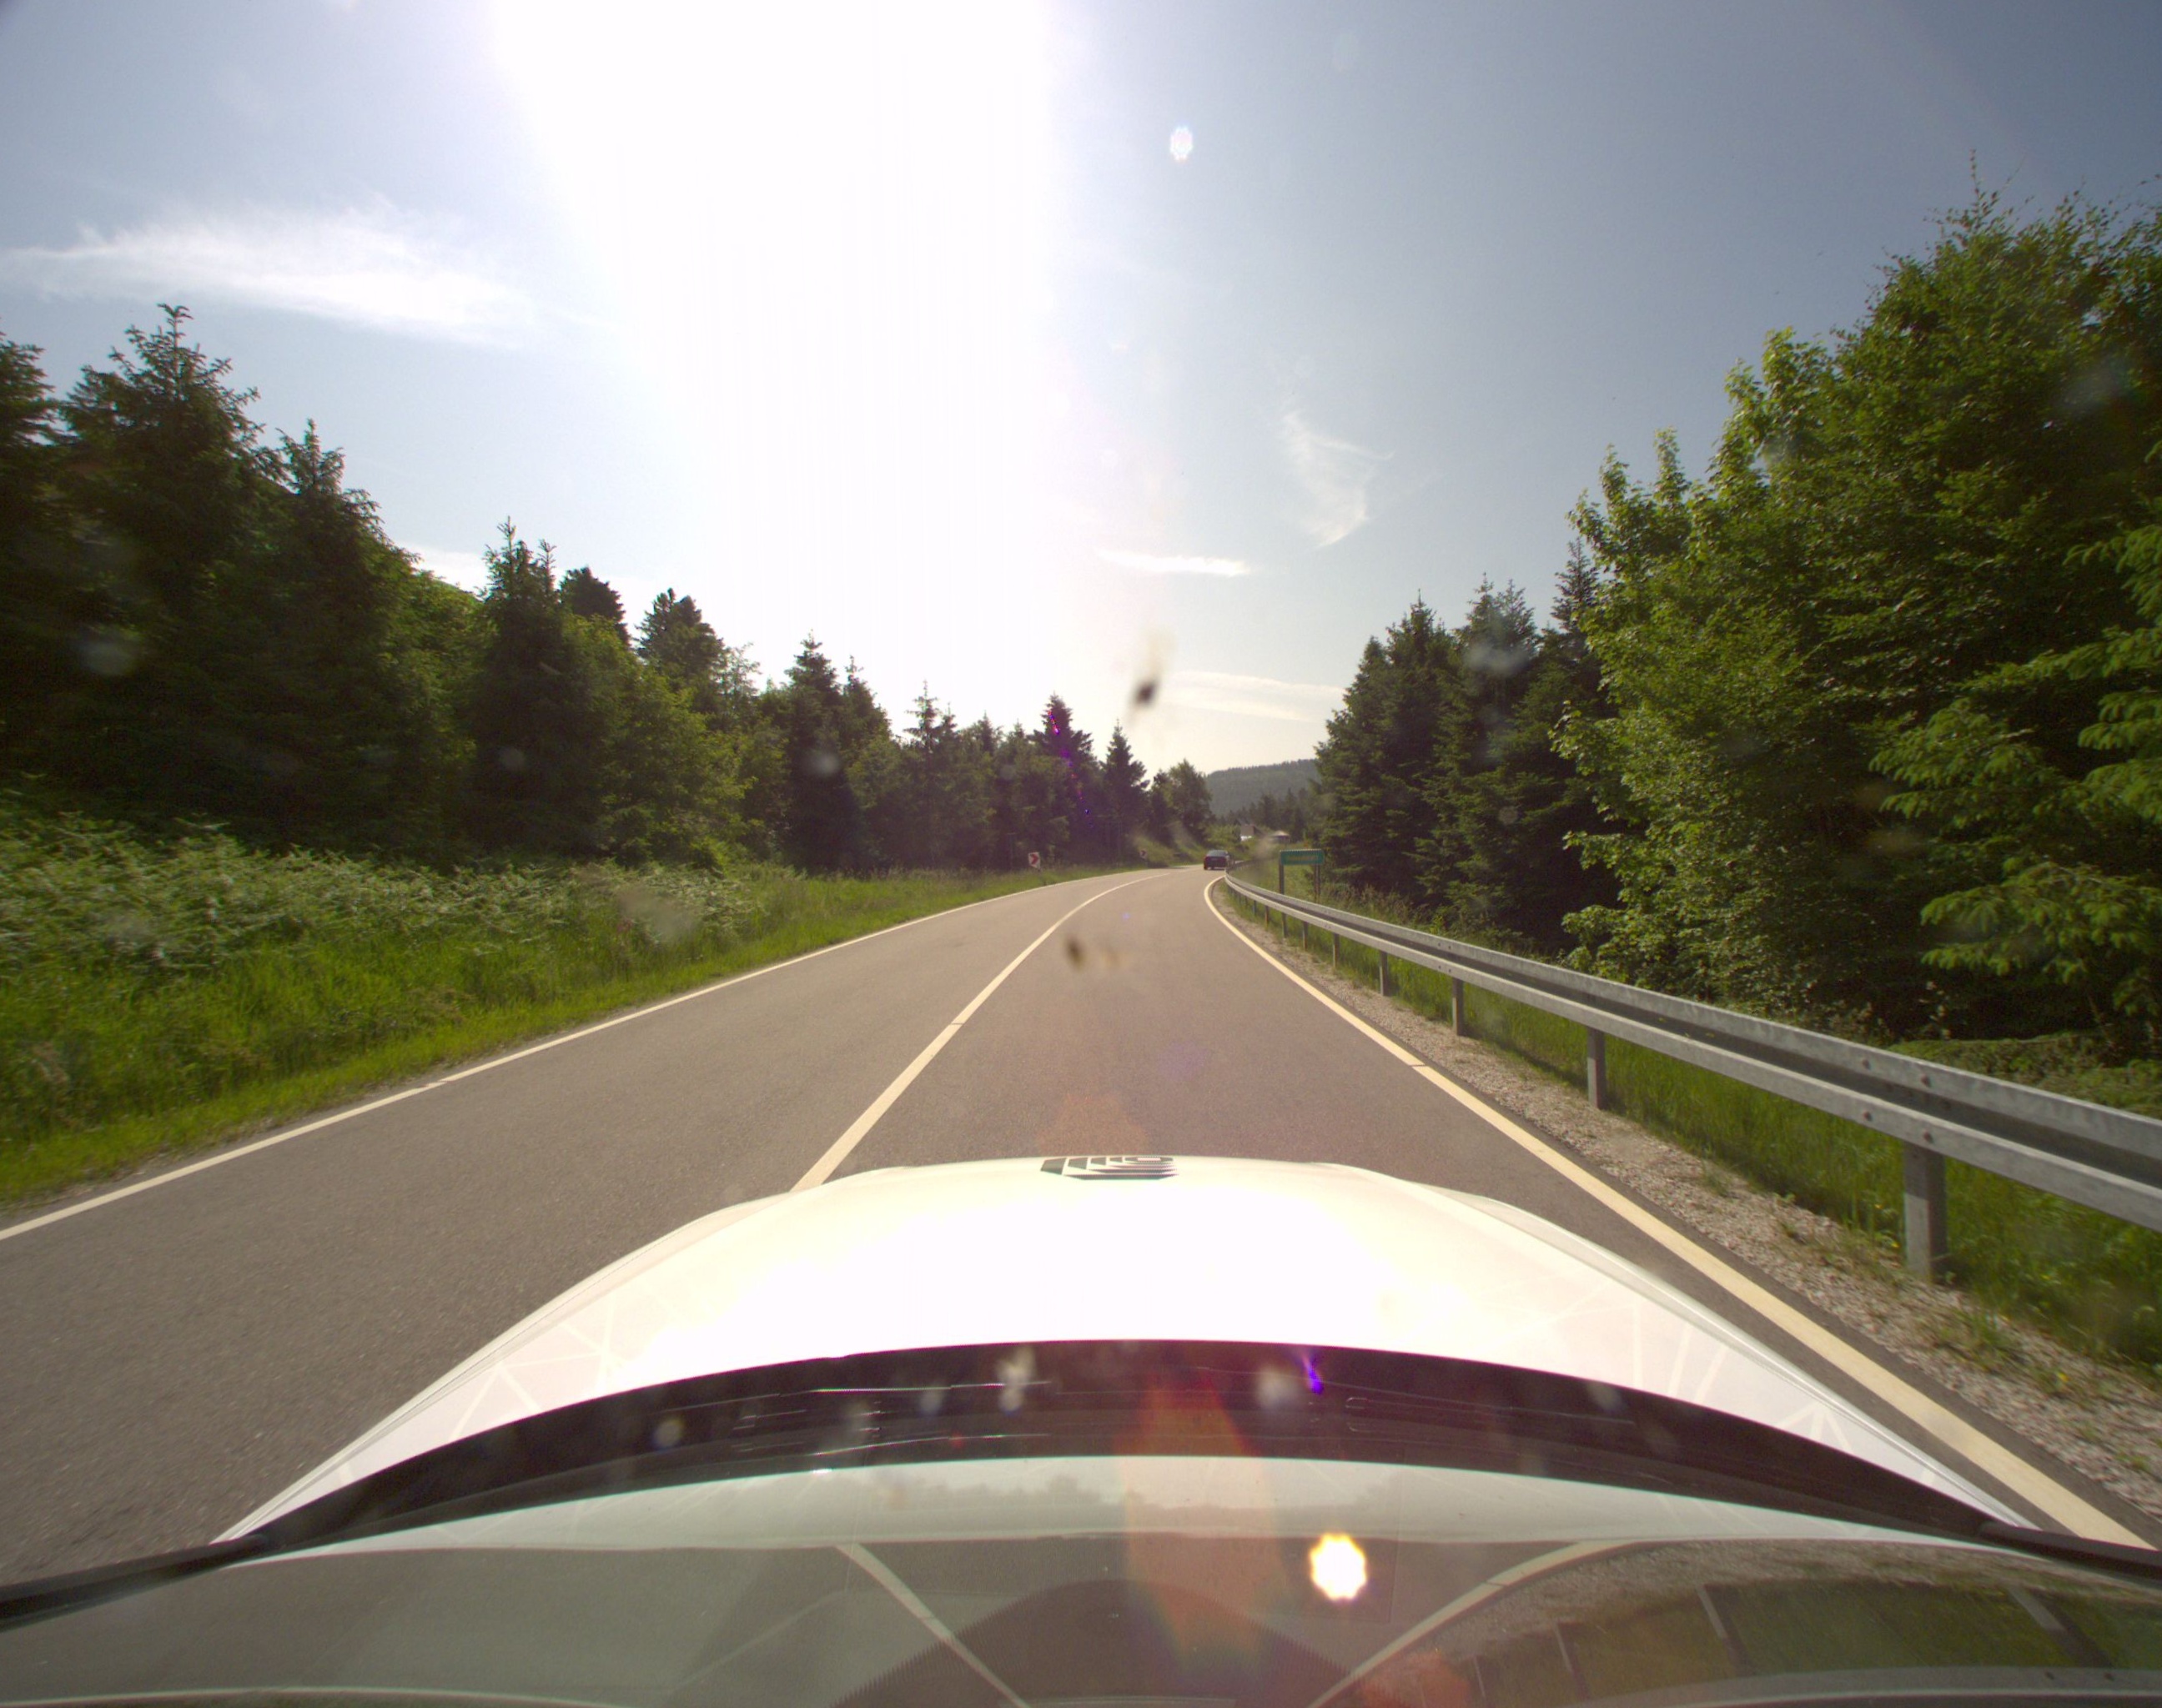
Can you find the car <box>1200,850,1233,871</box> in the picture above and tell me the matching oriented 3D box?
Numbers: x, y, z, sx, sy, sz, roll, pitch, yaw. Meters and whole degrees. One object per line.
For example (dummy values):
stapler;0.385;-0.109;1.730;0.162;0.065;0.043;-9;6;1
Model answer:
car;9.797;0.443;58.748;1.762;1.442;3.726;0;1;18
